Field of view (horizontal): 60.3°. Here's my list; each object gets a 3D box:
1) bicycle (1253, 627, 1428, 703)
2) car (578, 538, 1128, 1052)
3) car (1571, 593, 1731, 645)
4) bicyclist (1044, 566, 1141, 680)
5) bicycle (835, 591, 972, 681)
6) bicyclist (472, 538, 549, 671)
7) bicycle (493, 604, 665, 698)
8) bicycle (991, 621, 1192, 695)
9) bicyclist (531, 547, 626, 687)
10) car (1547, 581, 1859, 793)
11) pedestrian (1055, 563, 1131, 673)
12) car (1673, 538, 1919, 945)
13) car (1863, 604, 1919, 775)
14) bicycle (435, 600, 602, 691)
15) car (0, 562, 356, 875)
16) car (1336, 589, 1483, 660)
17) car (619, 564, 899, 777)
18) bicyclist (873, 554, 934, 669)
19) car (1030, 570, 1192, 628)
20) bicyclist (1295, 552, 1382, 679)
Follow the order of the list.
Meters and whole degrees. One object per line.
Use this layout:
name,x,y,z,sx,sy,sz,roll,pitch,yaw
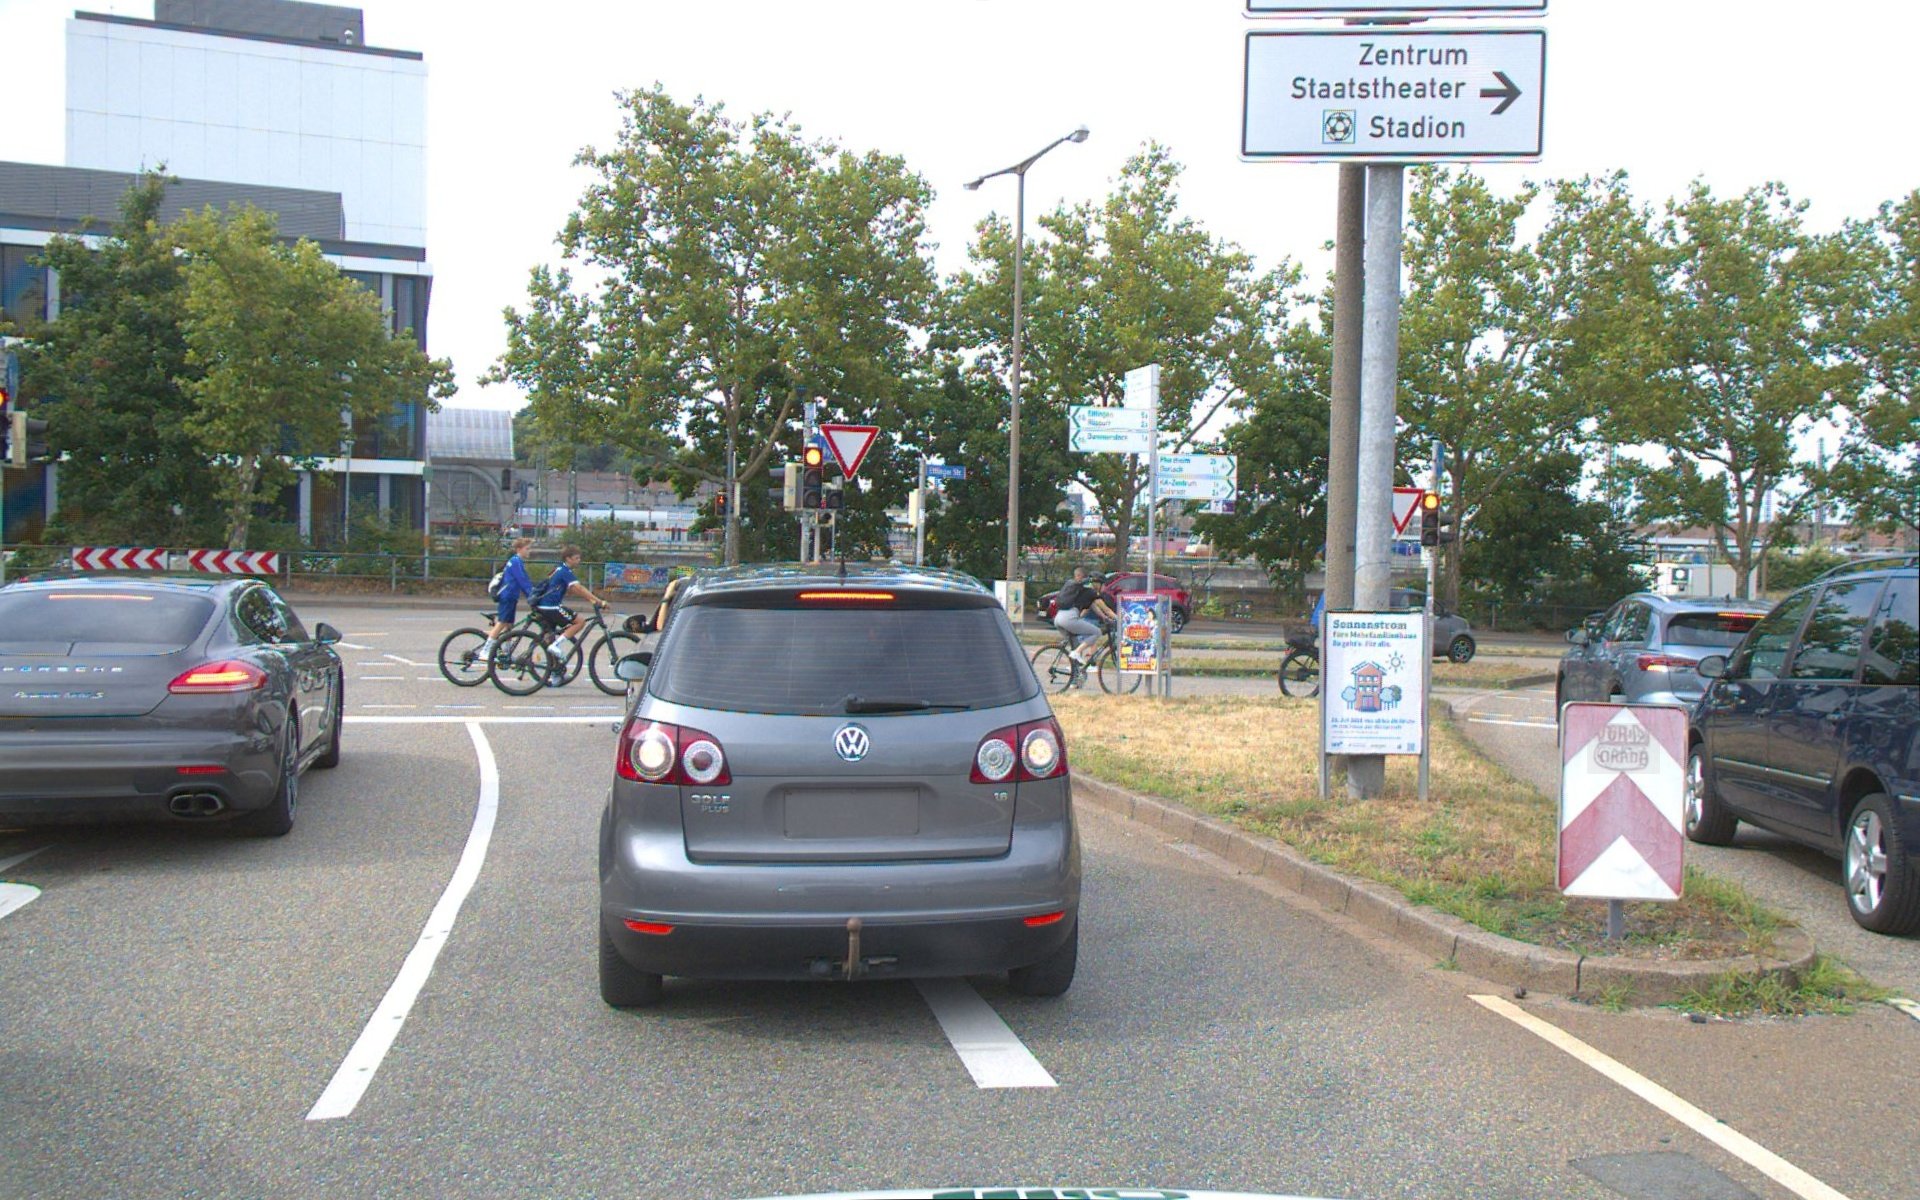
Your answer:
bicycle,5.168,0.876,22.484,2.191,0.969,0.808,1,1,-16
car,-0.610,0.586,7.214,1.709,1.573,4.074,1,0,-9
car,20.519,0.565,49.140,4.260,1.473,1.753,1,1,-18
bicyclist,1.736,0.292,21.654,1.095,1.461,0.645,0,1,-17
bicycle,-0.808,0.510,23.531,1.867,1.231,0.641,1,1,-11
bicyclist,-5.384,0.047,19.787,0.826,1.556,0.625,1,1,-20
bicycle,-4.377,0.583,18.999,1.871,1.031,0.625,1,1,-18
bicycle,1.724,0.758,21.673,2.542,0.905,0.701,1,1,-17
bicyclist,-4.379,0.191,18.975,1.000,1.566,0.625,1,1,-18
car,6.734,0.703,15.445,1.655,1.613,4.160,3,0,11
pedestrian,2.192,0.280,27.192,1.025,1.740,0.854,2,1,16
car,5.261,0.653,8.686,1.713,1.754,4.141,3,0,9
car,10.148,0.921,15.455,1.713,1.671,4.141,3,0,10
bicycle,-5.285,0.537,19.813,1.873,1.031,0.625,1,1,-21
car,-4.850,0.519,10.116,1.789,1.438,4.756,1,1,-16
car,9.622,0.515,35.432,2.672,1.447,1.490,1,1,-22
car,-1.837,0.481,13.913,1.713,1.508,4.064,1,1,-16
bicyclist,-0.808,0.154,23.509,0.765,1.608,0.653,1,1,-11
car,3.961,-0.027,43.487,3.894,1.473,1.692,1,1,-21
bicyclist,5.133,0.206,22.456,0.866,1.685,0.808,1,1,-16
